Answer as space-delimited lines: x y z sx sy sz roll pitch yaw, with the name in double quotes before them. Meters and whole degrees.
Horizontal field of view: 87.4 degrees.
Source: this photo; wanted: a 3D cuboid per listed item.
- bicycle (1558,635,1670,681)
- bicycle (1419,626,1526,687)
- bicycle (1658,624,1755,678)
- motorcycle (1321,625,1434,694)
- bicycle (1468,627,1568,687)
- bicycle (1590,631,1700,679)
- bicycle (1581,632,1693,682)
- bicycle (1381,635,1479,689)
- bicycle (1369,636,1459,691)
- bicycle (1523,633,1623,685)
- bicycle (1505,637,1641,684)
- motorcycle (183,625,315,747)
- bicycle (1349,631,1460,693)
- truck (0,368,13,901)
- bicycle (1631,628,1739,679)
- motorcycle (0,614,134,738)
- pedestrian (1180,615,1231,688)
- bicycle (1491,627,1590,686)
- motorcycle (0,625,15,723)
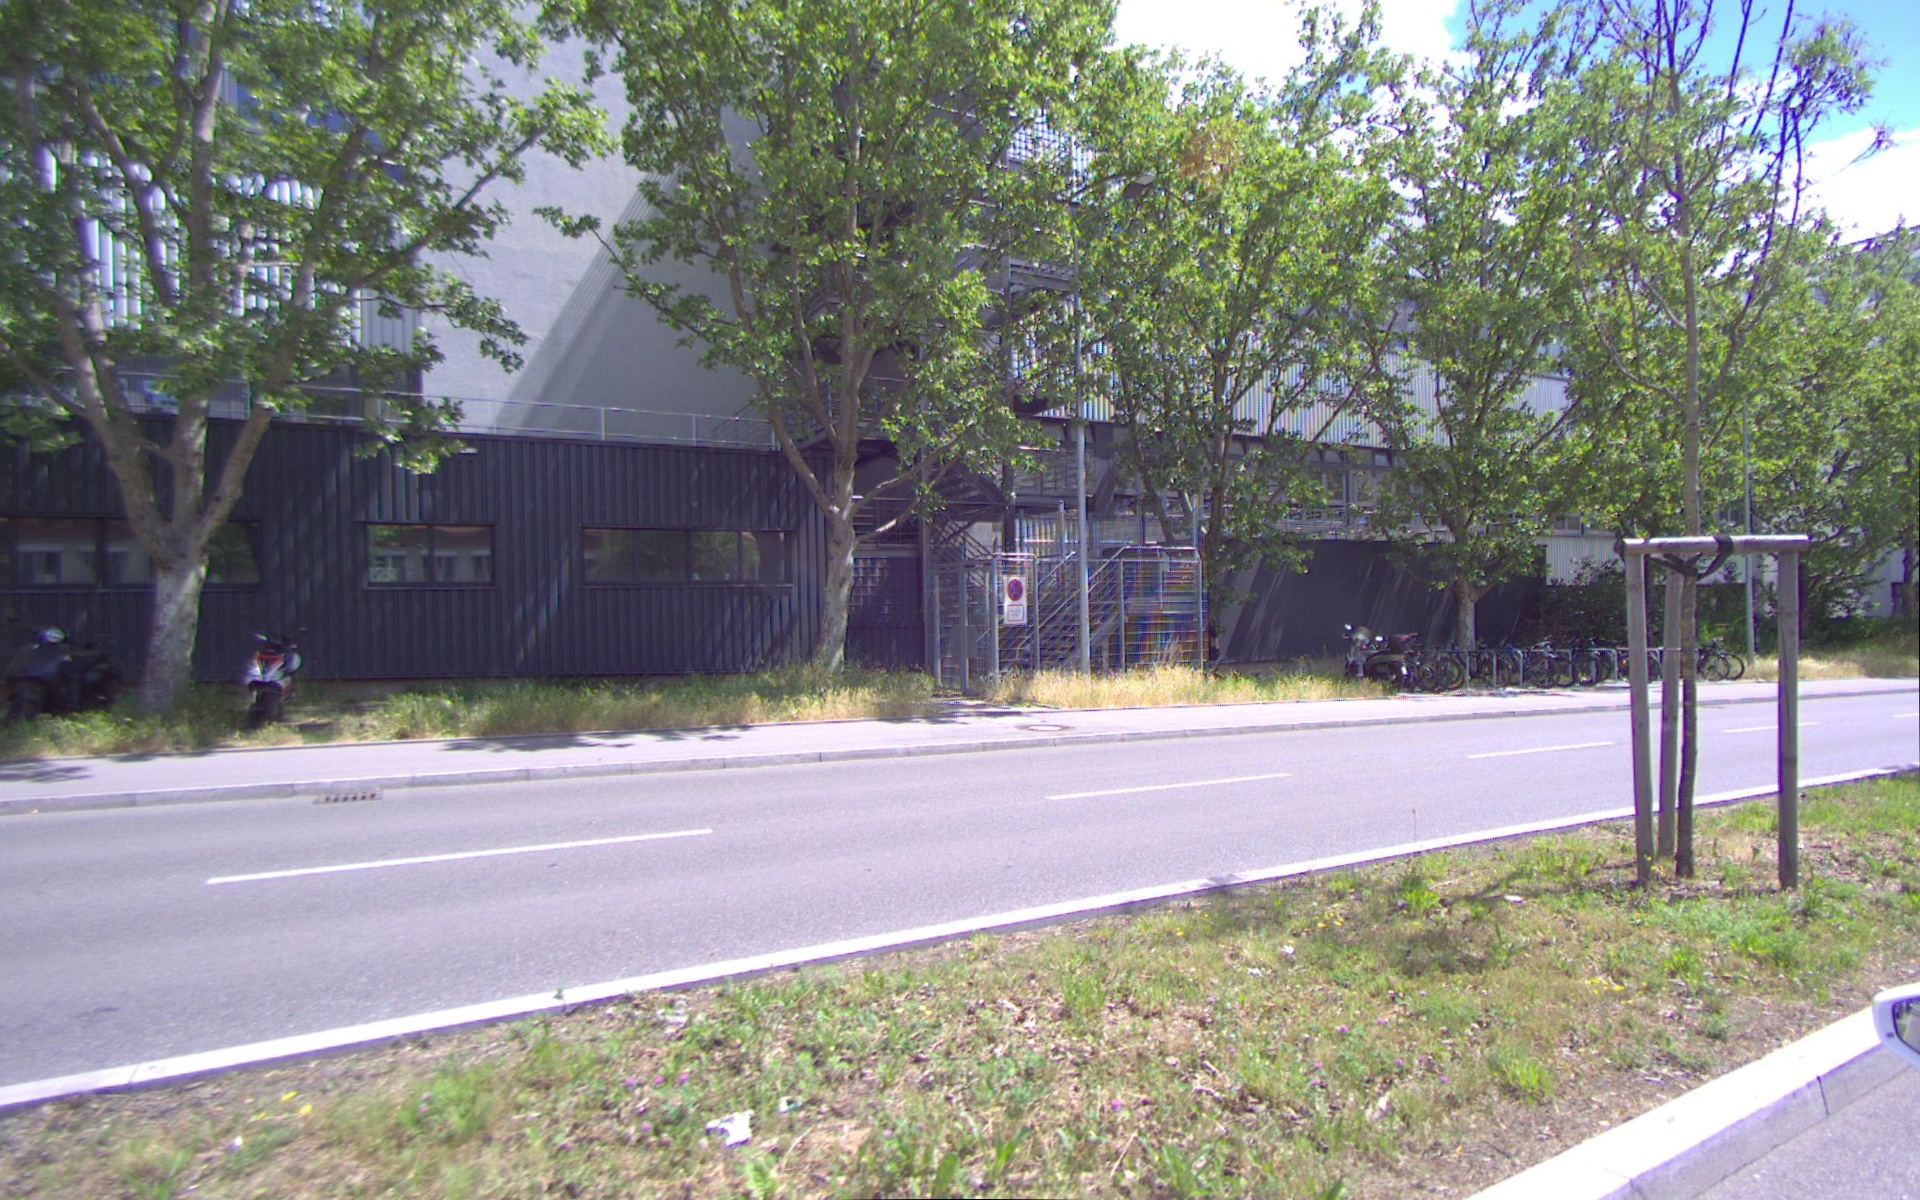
"bicycle" 16.981 1.482 26.189 0.685 1.110 2.563 1 -2 -19
"bicycle" 11.925 1.288 23.439 0.797 1.299 2.123 1 0 -31
"bicycle" 20.619 1.387 27.791 0.483 1.382 2.159 1 -1 -27
"motorcycle" 8.657 1.205 20.924 0.797 1.326 2.123 1 0 -31
"bicycle" 12.961 1.301 23.384 0.797 1.299 1.908 1 0 -31
"bicycle" 18.547 1.474 27.291 0.714 1.173 2.562 1 0 -19
"bicycle" 17.747 1.460 26.417 0.634 1.173 2.562 1 0 -19
"bicycle" 10.398 1.351 22.308 0.491 1.076 2.070 1 0 -31
"bicycle" 9.971 1.374 22.122 0.417 1.089 1.914 1 0 -31
"bicycle" 14.806 1.398 24.303 0.797 1.137 1.908 1 -1 -31
"bicycle" 15.366 1.494 25.268 0.843 1.020 2.813 1 0 -38
"motorcycle" -8.108 0.930 11.550 0.734 1.189 1.875 0 2 -20
"bicycle" 9.471 1.290 21.498 0.797 1.196 2.123 1 -1 -31
"truck" -7.234 0.124 2.676 6.382 2.787 2.468 1 -1 -30
"bicycle" 19.577 1.408 27.181 0.548 1.274 2.395 1 -1 -27
"motorcycle" -10.070 0.794 11.221 0.719 1.202 1.874 0 1 -21
"pedestrian" 5.411 1.115 22.132 0.808 1.572 0.753 1 0 -20
"bicycle" 13.830 1.322 23.989 0.797 1.299 1.908 1 -1 -31
"motorcycle" -11.109 0.863 10.621 0.780 1.099 1.878 0 2 -14
